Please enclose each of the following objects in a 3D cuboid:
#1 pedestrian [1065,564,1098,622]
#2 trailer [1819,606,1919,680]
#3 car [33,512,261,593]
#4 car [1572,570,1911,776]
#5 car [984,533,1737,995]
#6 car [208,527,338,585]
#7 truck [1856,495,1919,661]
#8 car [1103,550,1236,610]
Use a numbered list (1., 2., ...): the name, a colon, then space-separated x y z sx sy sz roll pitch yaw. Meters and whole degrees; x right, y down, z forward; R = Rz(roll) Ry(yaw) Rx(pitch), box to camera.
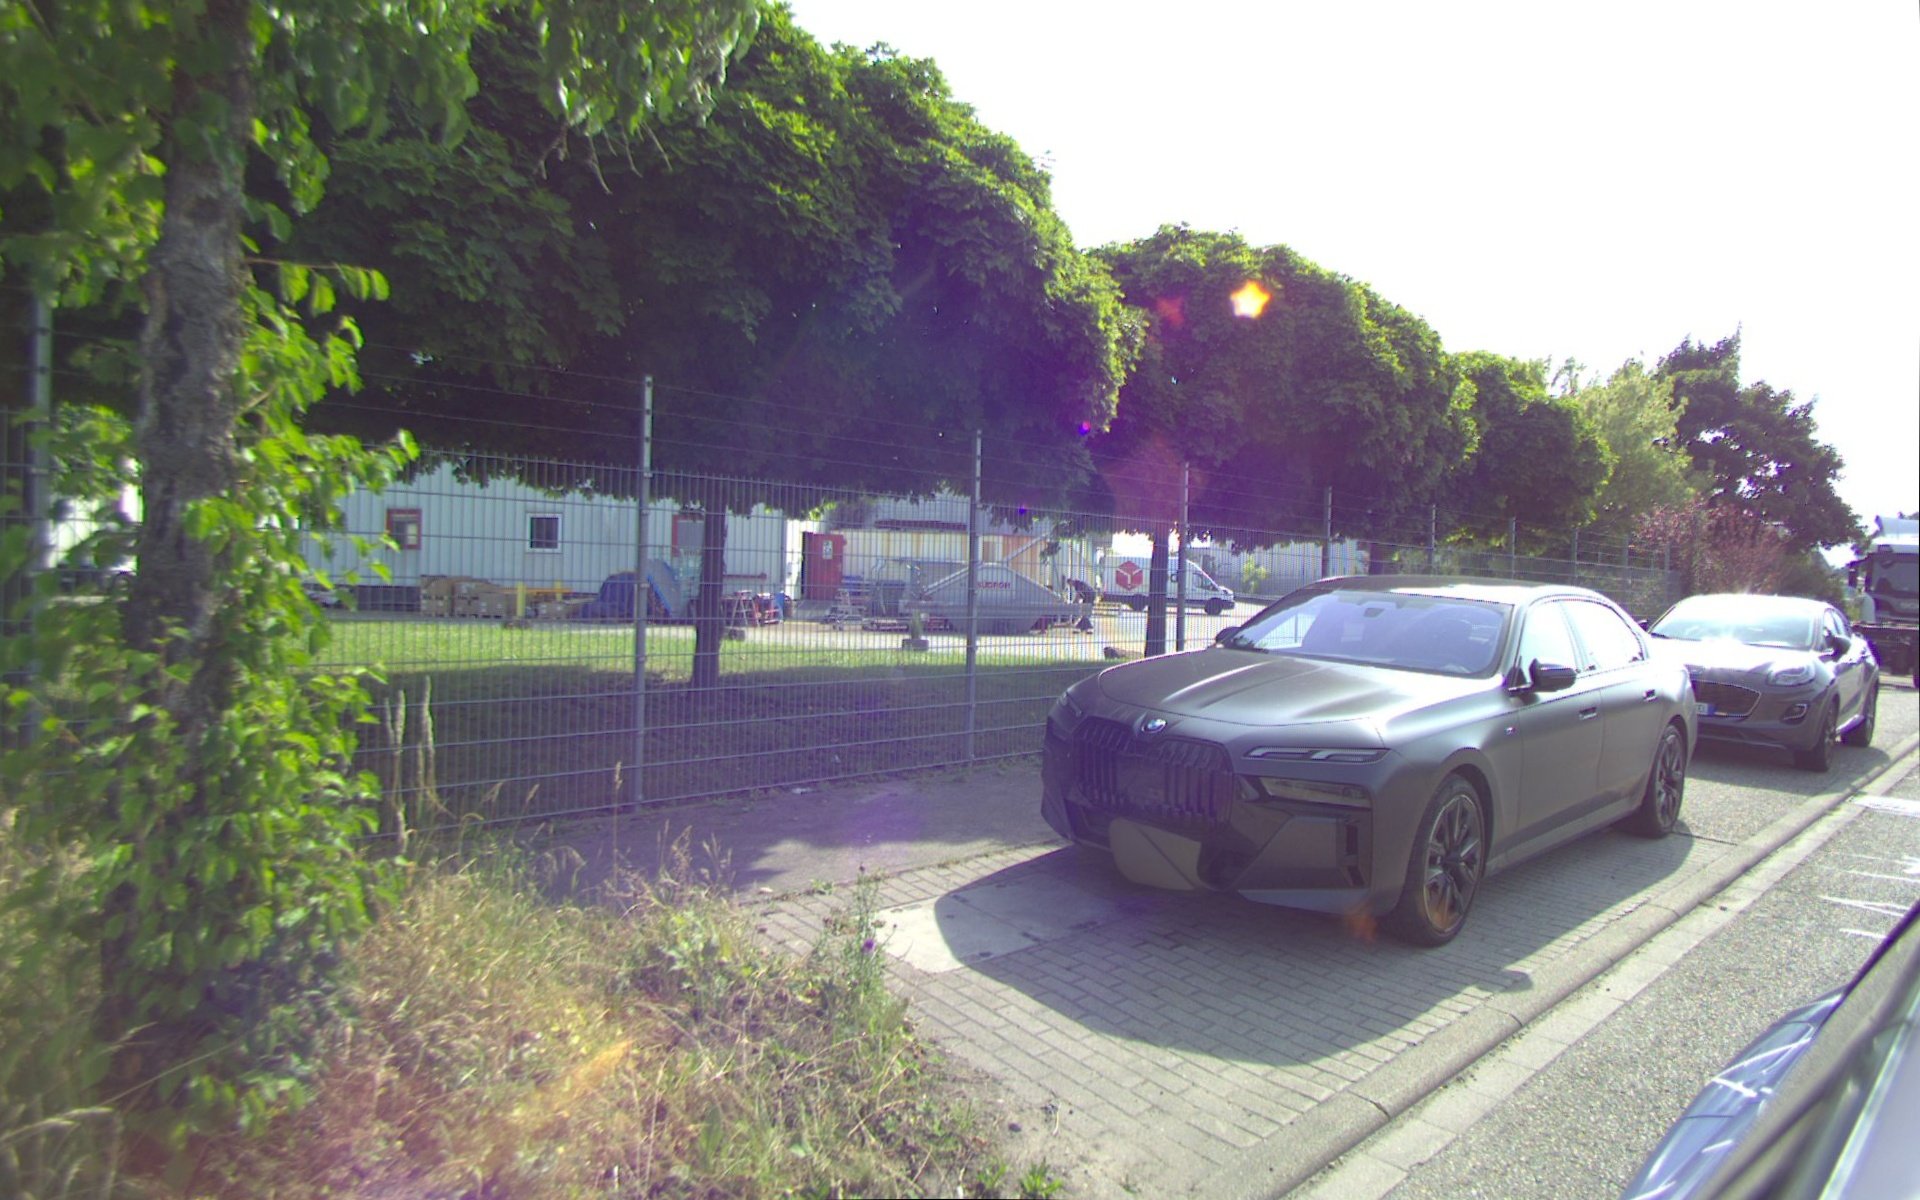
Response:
1. pedestrian: 3.713 -0.224 30.954 0.847 1.743 0.628 2 1 18
2. trailer: 19.865 0.842 21.136 7.322 1.251 1.942 1 3 -42
3. car: -28.624 -1.639 36.066 2.139 2.548 6.686 2 2 8
4. car: 8.095 0.584 10.361 4.041 1.592 1.885 0 4 -41
5. car: 2.656 0.529 5.879 5.028 1.593 1.885 0 3 -41
6. car: -29.919 -1.902 44.118 4.773 2.317 1.925 3 1 12
7. truck: 25.736 -0.485 26.431 5.945 4.012 2.697 1 3 -43
8. car: 10.172 -0.995 49.703 6.169 2.681 2.208 2 1 9
